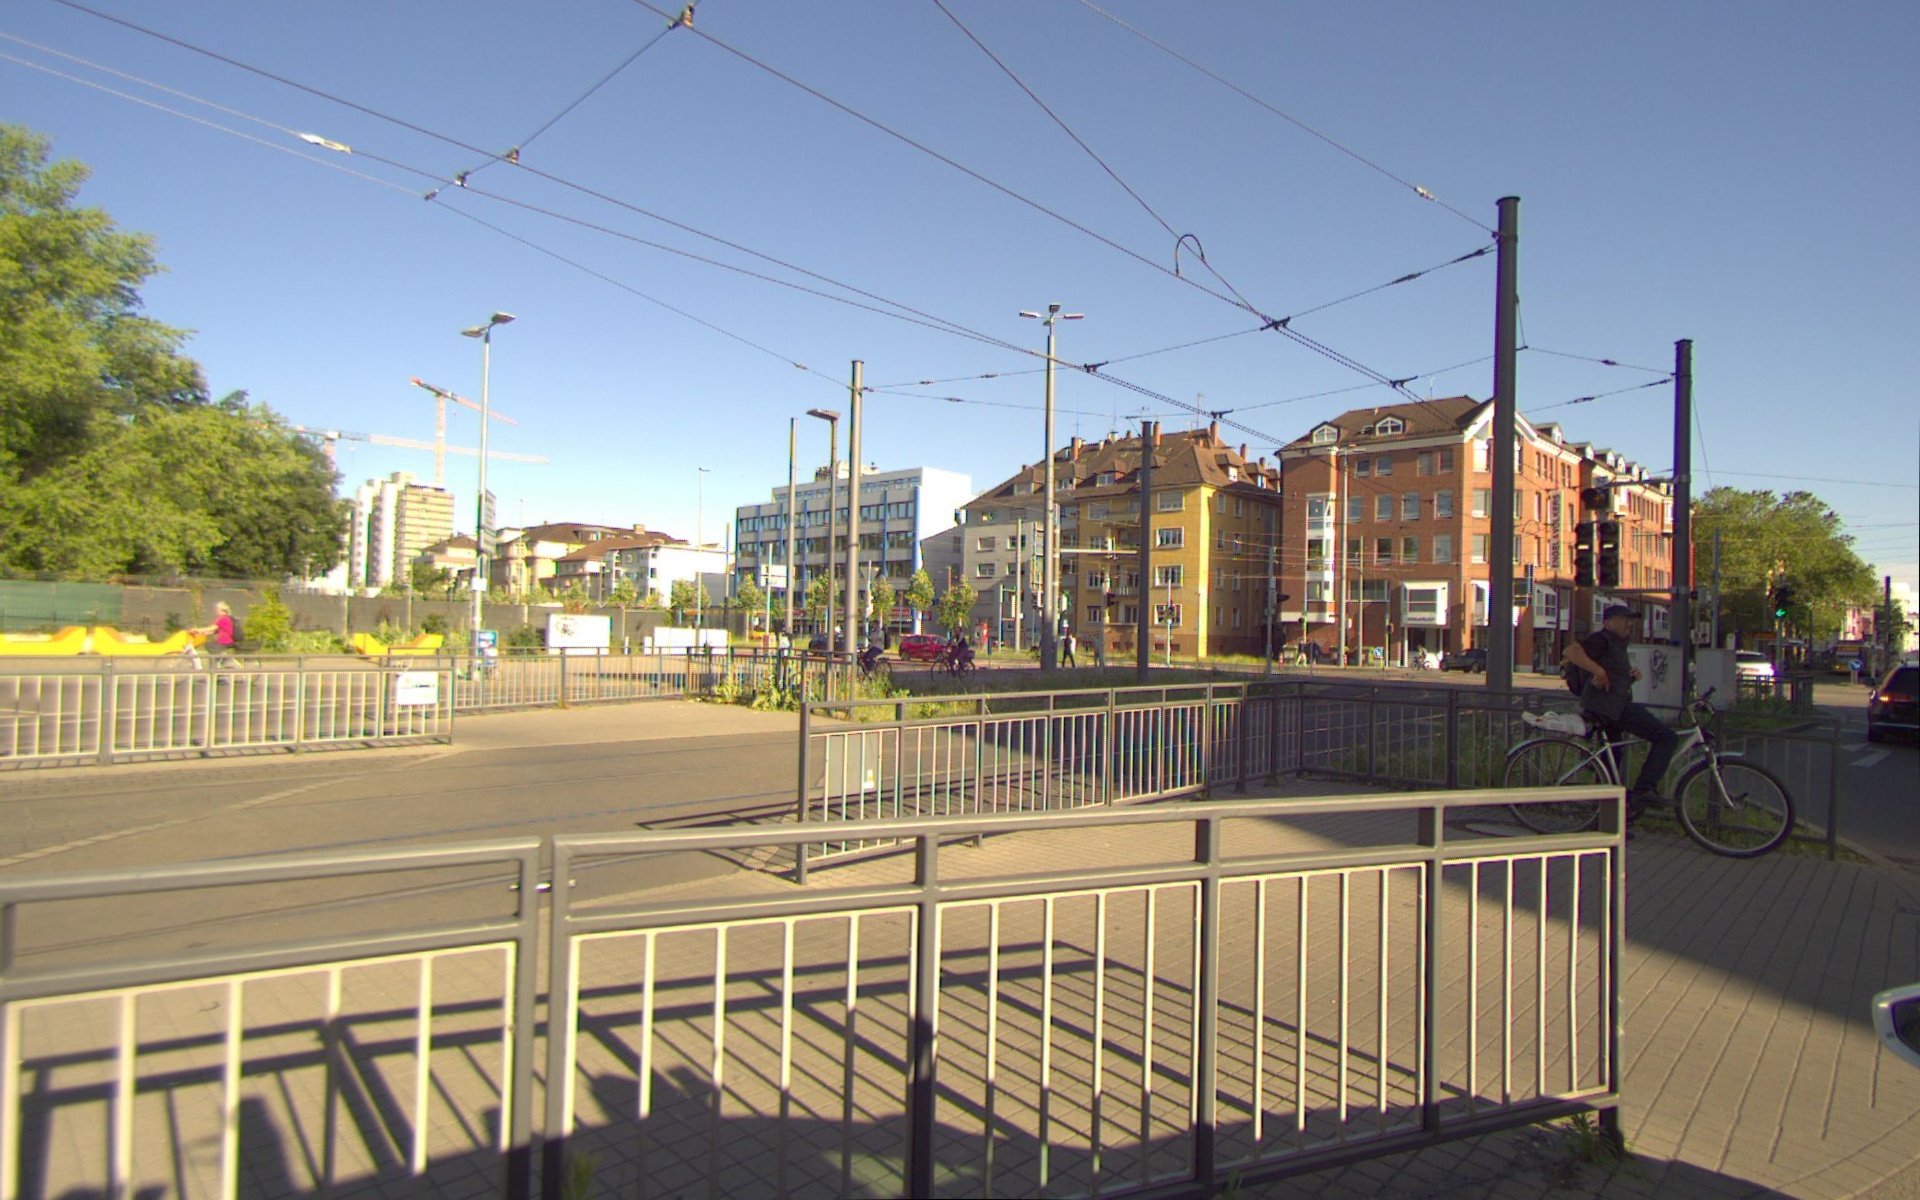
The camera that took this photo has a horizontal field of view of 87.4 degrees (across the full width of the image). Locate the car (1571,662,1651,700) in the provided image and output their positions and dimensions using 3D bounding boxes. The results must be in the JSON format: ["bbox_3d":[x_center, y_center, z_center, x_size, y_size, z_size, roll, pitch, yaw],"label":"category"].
[{"bbox_3d":[32.052,3.982,49.541,1.546,1.639,3.785,2,-2,1],"label":"car"}]

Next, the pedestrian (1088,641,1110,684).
[{"bbox_3d":[5.798,2.586,41.756,0.616,1.711,0.703,1,0,37],"label":"pedestrian"}]

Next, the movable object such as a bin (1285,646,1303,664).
[{"bbox_3d":[26.825,4.417,80.629,0.984,1.455,1.091,1,-2,40],"label":"movable object such as a bin"}]

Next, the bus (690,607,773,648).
[{"bbox_3d":[-21.799,2.585,95.534,9.298,3.610,2.935,0,-2,44],"label":"bus"}]

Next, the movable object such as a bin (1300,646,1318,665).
[{"bbox_3d":[27.763,4.394,79.885,0.984,1.455,1.091,1,-2,40],"label":"movable object such as a bin"}]

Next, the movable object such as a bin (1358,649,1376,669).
[{"bbox_3d":[31.039,4.487,76.628,0.984,1.455,1.091,1,-2,40],"label":"movable object such as a bin"}]

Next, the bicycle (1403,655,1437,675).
[{"bbox_3d":[31.389,4.443,68.544,0.622,1.239,2.020,3,-2,-35],"label":"bicycle"}]

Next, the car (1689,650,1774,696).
[{"bbox_3d":[30.251,2.826,39.496,1.810,1.656,3.485,1,-2,23],"label":"car"}]

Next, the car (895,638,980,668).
[{"bbox_3d":[-1.230,2.816,53.648,4.496,1.529,1.774,-2,-3,40],"label":"car"}]

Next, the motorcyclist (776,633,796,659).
[{"bbox_3d":[-10.762,2.865,62.233,0.910,1.544,0.778,1,-2,43],"label":"motorcyclist"}]

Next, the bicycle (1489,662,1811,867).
[{"bbox_3d":[4.808,1.103,7.155,1.792,1.227,0.641,1,-2,26],"label":"bicycle"}]

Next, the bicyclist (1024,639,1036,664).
[{"bbox_3d":[3.718,2.743,53.542,0.452,1.333,0.399,1,-2,34],"label":"bicyclist"}]

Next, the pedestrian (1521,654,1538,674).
[{"bbox_3d":[46.084,5.152,81.263,0.850,1.588,0.883,3,-2,-18],"label":"pedestrian"}]

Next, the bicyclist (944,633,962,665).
[{"bbox_3d":[-0.330,2.383,48.667,0.606,1.513,0.608,1,-2,36],"label":"bicyclist"}]

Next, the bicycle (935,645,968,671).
[{"bbox_3d":[-0.421,2.809,48.704,1.476,1.148,0.610,1,-2,36],"label":"bicycle"}]

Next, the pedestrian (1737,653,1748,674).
[{"bbox_3d":[59.409,4.804,76.277,0.575,1.551,0.636,1,-2,32],"label":"pedestrian"}]

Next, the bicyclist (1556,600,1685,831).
[{"bbox_3d":[4.720,0.793,7.216,0.670,1.543,0.634,1,-2,26],"label":"bicyclist"}]

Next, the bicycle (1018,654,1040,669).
[{"bbox_3d":[3.681,3.276,53.525,1.156,0.774,0.319,1,-2,34],"label":"bicycle"}]

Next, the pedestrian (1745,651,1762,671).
[{"bbox_3d":[65.820,5.050,83.299,1.092,1.646,0.844,1,-2,39],"label":"pedestrian"}]

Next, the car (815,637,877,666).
[{"bbox_3d":[-6.672,2.992,58.514,3.660,1.491,1.567,1,-2,43],"label":"car"}]

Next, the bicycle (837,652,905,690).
[{"bbox_3d":[-2.555,2.044,28.887,1.869,1.026,0.644,4,-2,-39],"label":"bicycle"}]

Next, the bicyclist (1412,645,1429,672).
[{"bbox_3d":[31.413,3.980,68.537,0.608,1.795,0.822,3,-2,-35],"label":"bicyclist"}]

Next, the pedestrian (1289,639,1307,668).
[{"bbox_3d":[20.800,3.304,61.855,0.687,1.733,0.925,1,-2,43],"label":"pedestrian"}]

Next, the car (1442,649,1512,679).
[{"bbox_3d":[30.602,3.761,59.586,1.705,1.571,3.458,3,-2,-20],"label":"car"}]

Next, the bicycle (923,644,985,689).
[{"bbox_3d":[-0.158,2.007,30.425,2.014,1.308,0.568,4,-2,-45],"label":"bicycle"}]

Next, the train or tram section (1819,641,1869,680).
[{"bbox_3d":[87.830,6.057,99.713,10.016,3.588,2.703,4,-3,-43],"label":"train or tram section"}]

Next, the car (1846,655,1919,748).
[{"bbox_3d":[17.232,1.774,18.035,1.743,1.463,4.509,1,-1,39],"label":"car"}]

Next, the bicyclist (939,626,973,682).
[{"bbox_3d":[-0.131,1.647,30.512,0.800,1.670,0.583,4,-2,-42],"label":"bicyclist"}]

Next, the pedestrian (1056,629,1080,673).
[{"bbox_3d":[4.872,2.294,45.201,0.786,1.959,0.722,3,-2,-20],"label":"pedestrian"}]

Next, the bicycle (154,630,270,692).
[{"bbox_3d":[-15.578,1.270,20.946,1.869,1.230,0.525,4,-2,-39],"label":"bicycle"}]

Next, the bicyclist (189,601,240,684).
[{"bbox_3d":[-15.545,0.880,20.959,0.764,1.695,0.516,3,-2,-39],"label":"bicyclist"}]

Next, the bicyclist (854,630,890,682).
[{"bbox_3d":[-2.529,1.614,28.929,0.725,1.473,0.658,4,-2,-40],"label":"bicyclist"}]

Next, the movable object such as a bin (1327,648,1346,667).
[{"bbox_3d":[29.328,4.499,78.239,0.984,1.455,1.091,1,-2,40],"label":"movable object such as a bin"}]
